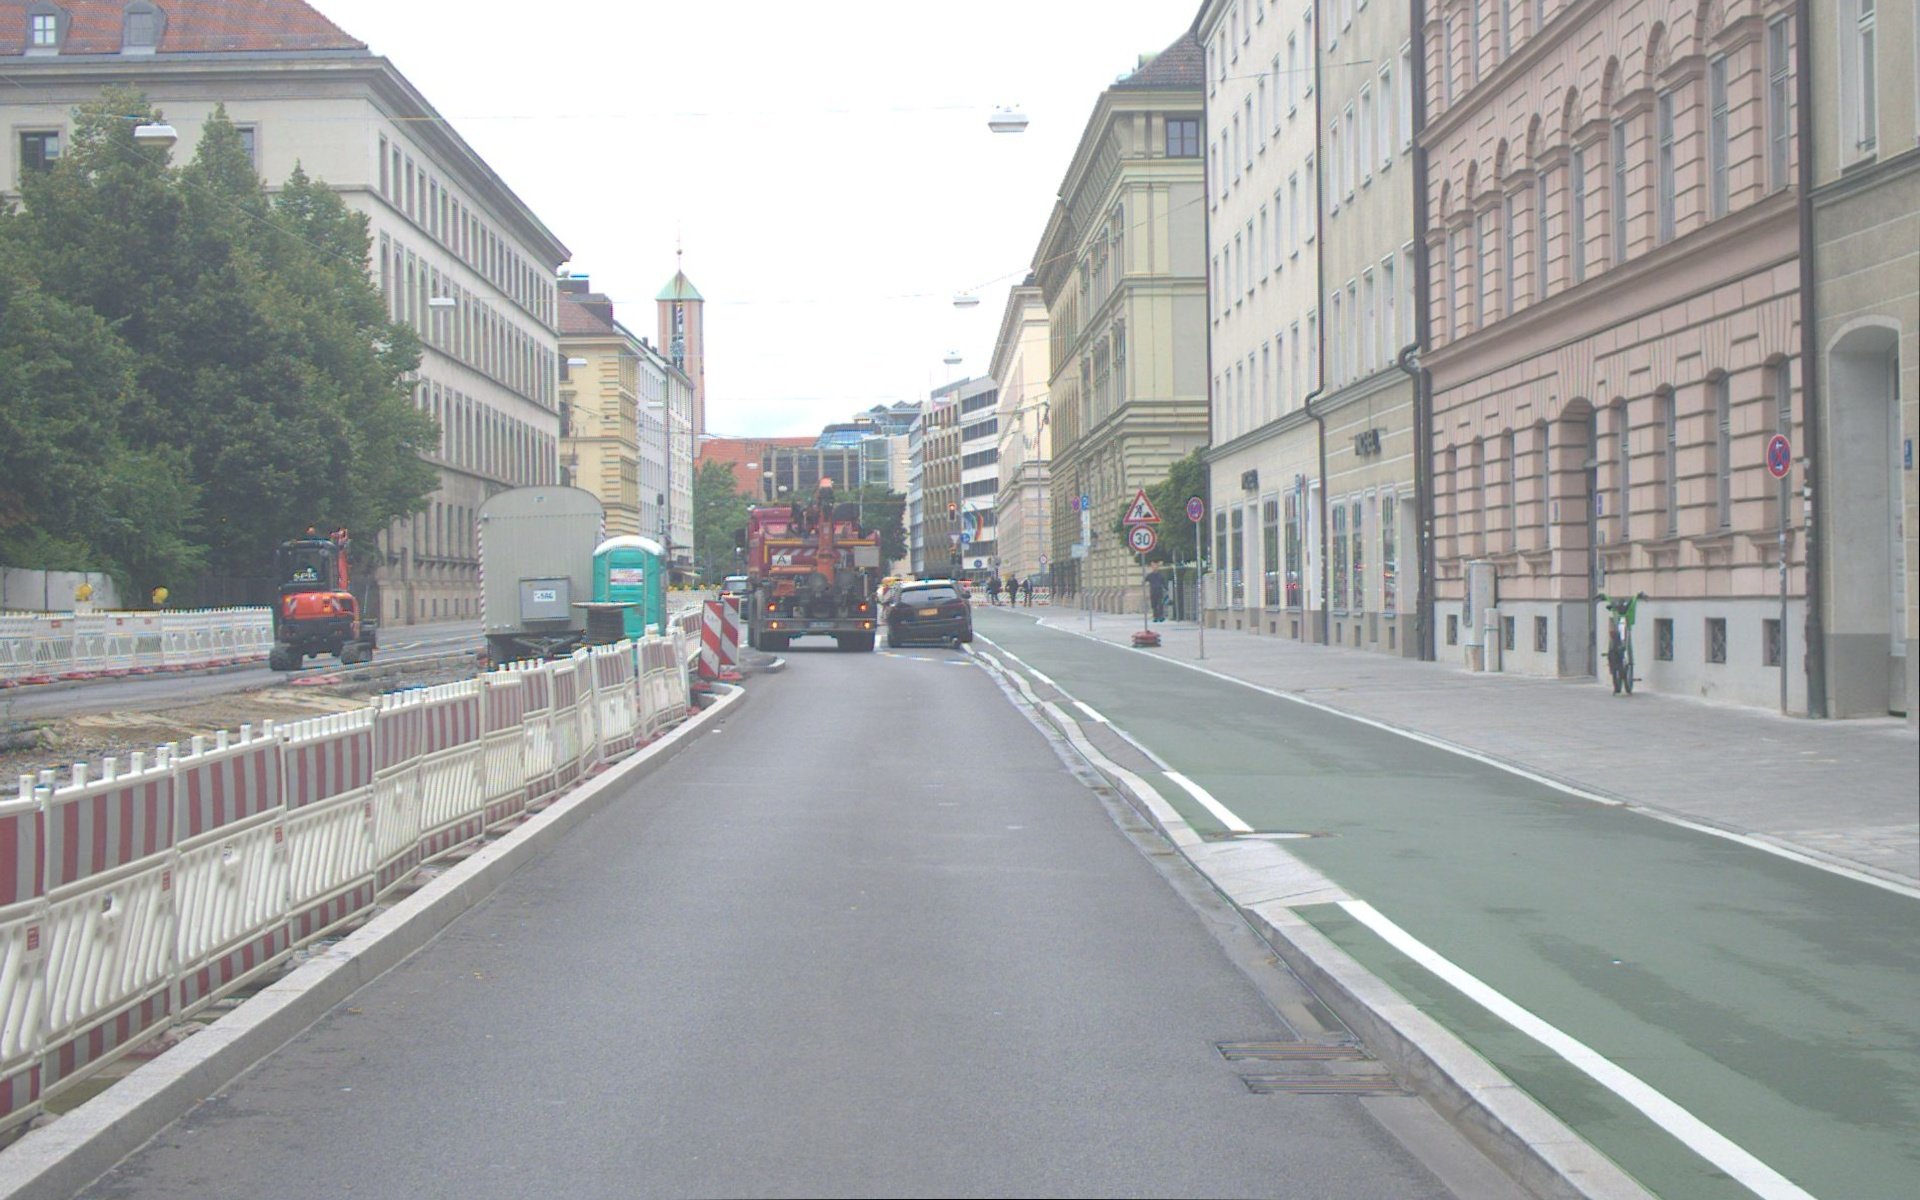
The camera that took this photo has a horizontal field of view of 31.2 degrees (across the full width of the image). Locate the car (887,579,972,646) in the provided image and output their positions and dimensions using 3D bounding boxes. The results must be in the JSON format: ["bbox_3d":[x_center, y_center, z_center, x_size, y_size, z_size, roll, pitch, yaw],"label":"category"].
[{"bbox_3d":[-0.727,0.263,78.303,1.801,1.475,4.687,-1,0,-2],"label":"car"}]

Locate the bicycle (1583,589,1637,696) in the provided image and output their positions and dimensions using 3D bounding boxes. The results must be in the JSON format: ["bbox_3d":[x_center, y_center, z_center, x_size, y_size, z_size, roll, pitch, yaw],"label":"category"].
[{"bbox_3d":[7.359,0.470,38.878,0.426,1.170,1.730,-1,0,16],"label":"bicycle"}]

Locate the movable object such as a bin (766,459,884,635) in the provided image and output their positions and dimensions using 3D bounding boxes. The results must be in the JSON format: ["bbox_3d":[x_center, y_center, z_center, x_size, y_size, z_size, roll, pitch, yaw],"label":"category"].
[{"bbox_3d":[-2.878,-1.092,73.352,2.423,3.599,5.852,0,0,-2],"label":"movable object such as a bin"}]

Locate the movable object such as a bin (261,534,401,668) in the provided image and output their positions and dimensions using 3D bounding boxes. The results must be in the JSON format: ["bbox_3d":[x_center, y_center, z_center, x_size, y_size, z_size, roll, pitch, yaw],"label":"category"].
[{"bbox_3d":[-12.430,0.001,68.177,1.924,2.563,4.492,0,0,0],"label":"movable object such as a bin"}]

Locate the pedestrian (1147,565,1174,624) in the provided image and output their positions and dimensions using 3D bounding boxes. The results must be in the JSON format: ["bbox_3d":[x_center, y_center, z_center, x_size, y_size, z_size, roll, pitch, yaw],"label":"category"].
[{"bbox_3d":[6.311,-0.173,108.110,0.790,1.830,0.777,-1,0,0],"label":"pedestrian"}]

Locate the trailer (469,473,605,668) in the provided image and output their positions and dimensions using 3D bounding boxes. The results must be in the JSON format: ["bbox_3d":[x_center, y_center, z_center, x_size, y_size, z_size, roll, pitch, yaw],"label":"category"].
[{"bbox_3d":[-7.431,-0.513,61.023,2.226,3.232,7.520,0,0,-6],"label":"trailer"}]
